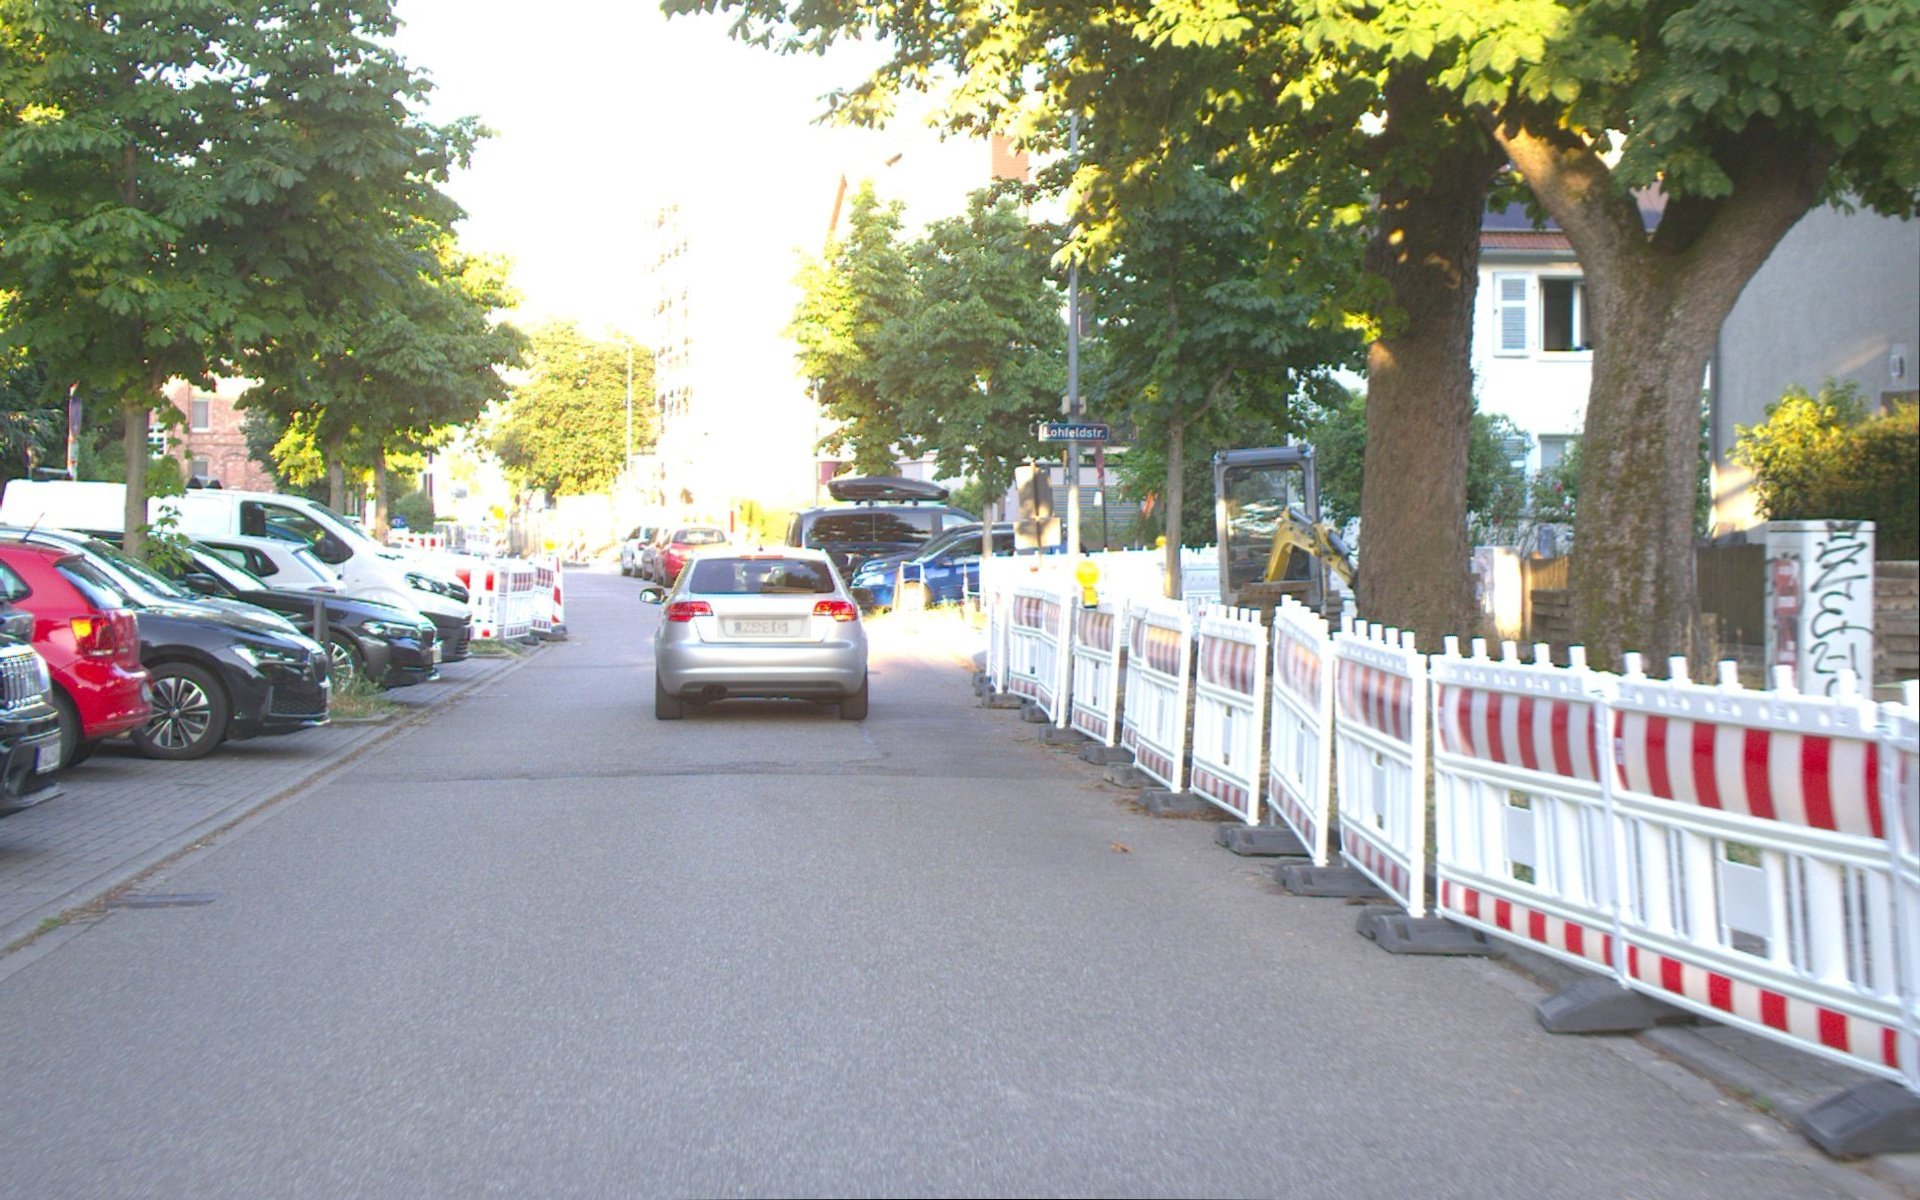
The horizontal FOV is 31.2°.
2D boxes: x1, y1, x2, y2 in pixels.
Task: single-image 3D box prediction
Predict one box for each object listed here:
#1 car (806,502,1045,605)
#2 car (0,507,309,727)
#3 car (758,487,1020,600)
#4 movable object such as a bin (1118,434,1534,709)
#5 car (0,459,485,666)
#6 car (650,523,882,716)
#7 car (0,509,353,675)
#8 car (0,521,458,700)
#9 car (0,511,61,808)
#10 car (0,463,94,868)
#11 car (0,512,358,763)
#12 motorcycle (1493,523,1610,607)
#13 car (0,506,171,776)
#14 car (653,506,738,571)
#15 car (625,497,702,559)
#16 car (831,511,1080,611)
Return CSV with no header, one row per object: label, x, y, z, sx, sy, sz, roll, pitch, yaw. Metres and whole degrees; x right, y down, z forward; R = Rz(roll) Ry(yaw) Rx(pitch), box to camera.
car,-0.654,-0.855,62.291,3.986,1.762,2.001,1,2,-12
car,-7.008,0.094,26.017,3.986,1.573,1.802,1,2,-8
car,-1.356,-1.077,64.586,4.555,2.016,2.102,1,2,-12
movable object such as a bin,3.377,-0.327,33.064,2.627,2.394,5.199,1,2,-9
car,-7.377,-0.403,35.516,4.771,2.006,2.000,1,2,-5
car,-1.655,0.111,29.154,1.807,1.483,4.001,-1,2,-4
car,-7.663,-0.096,32.963,3.414,1.478,1.759,1,2,-2
car,-6.892,0.071,30.214,4.771,1.465,1.881,1,1,-4
car,-6.997,0.258,18.424,3.986,1.519,1.790,1,2,-7
car,-6.118,0.231,15.693,3.860,1.771,1.843,1,2,-1
car,-6.383,0.214,23.425,4.405,1.609,1.900,1,2,-8
motorcycle,7.962,-0.471,46.232,0.581,1.102,1.842,3,2,44
car,-6.995,0.200,21.108,3.986,1.578,1.732,1,2,-6
car,-6.328,-1.484,82.018,1.730,1.478,3.558,1,2,-9
car,-7.999,-1.949,92.511,1.808,1.607,3.582,1,2,-9
car,-0.092,-0.675,59.750,3.986,1.645,1.765,1,2,-15
